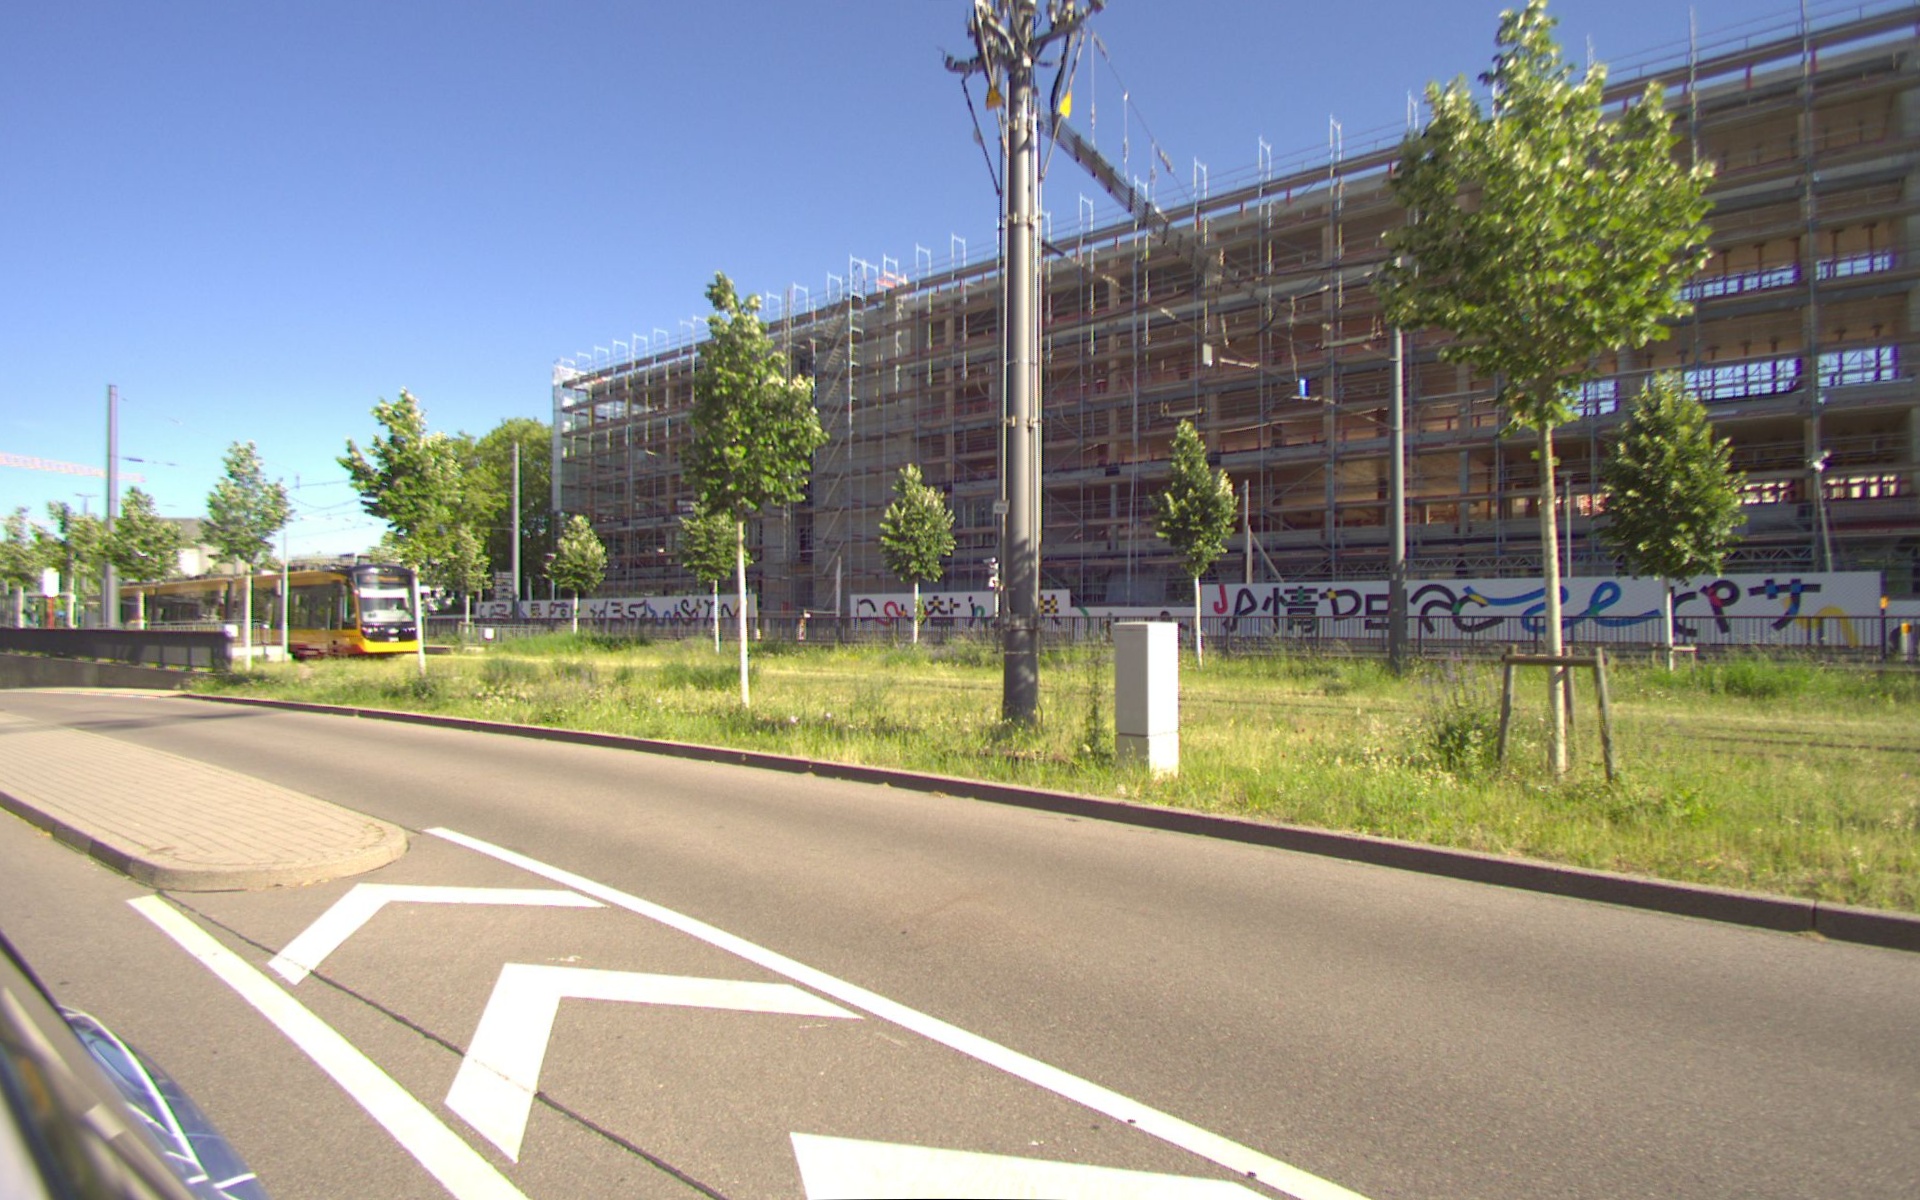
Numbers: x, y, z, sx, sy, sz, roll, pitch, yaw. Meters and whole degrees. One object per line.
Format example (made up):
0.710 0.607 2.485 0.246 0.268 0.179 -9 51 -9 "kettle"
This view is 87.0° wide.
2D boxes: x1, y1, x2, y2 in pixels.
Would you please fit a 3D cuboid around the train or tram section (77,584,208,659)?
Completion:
-44.462 1.193 54.811 12.773 3.666 2.788 -1 -2 39 "train or tram section"

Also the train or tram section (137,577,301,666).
-34.517 1.029 46.828 12.773 3.666 2.788 -1 -2 39 "train or tram section"

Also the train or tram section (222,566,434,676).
-24.540 0.850 38.820 12.773 3.666 2.788 -1 -2 39 "train or tram section"
